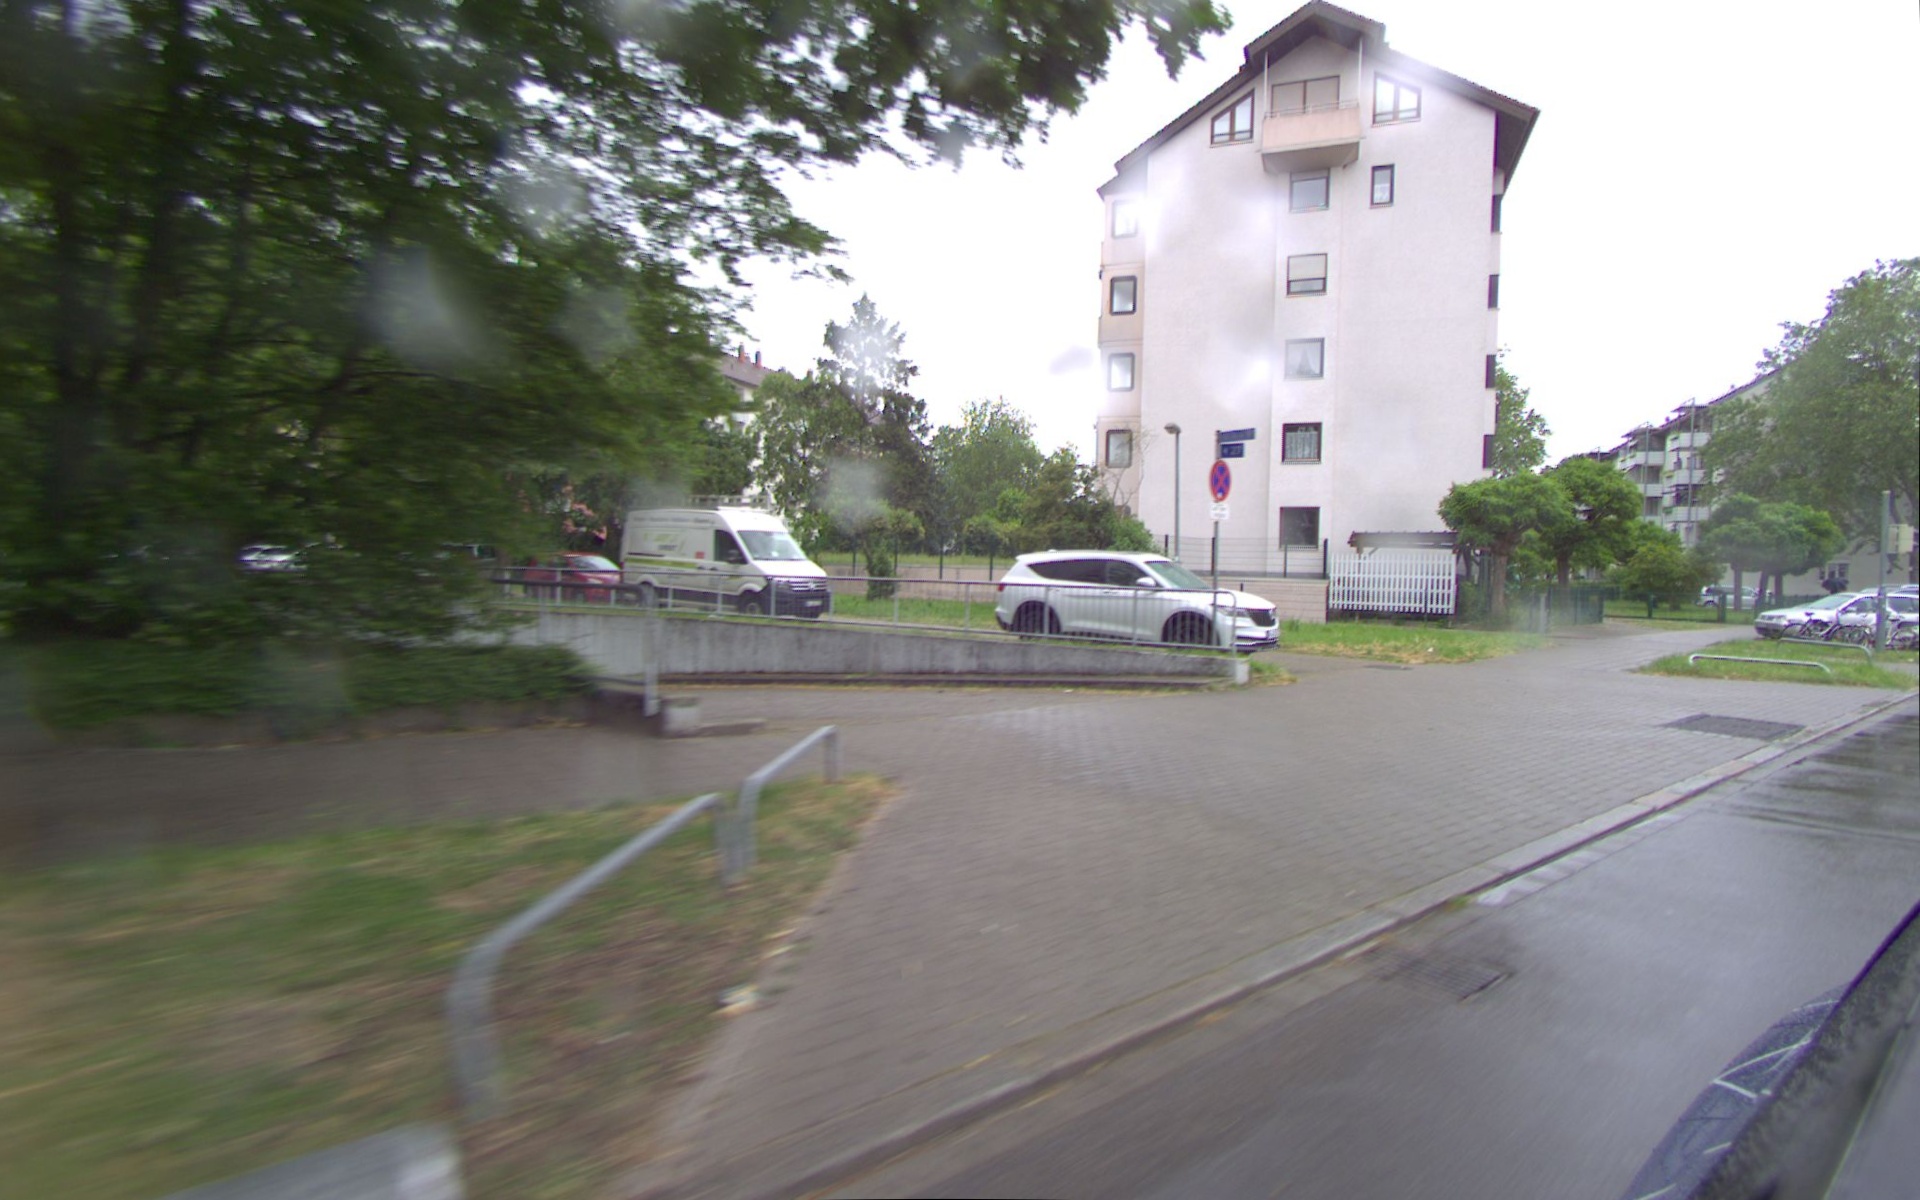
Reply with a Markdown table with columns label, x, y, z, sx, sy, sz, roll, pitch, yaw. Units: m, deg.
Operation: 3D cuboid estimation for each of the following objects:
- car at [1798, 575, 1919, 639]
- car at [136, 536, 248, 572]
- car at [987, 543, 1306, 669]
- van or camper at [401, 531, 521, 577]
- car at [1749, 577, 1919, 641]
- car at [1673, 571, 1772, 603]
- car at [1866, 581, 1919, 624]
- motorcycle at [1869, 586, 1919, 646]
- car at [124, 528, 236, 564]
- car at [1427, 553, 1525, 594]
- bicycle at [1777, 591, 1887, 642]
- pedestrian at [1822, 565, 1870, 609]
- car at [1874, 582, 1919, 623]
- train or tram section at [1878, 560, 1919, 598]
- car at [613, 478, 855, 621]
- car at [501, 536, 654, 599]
| label | x | y | z | sx | sy | sz | roll | pitch | yaw |
| --- | --- | --- | --- | --- | --- | --- | --- | --- | --- |
| car | 26.441 | 0.213 | 28.196 | 4.292 | 1.671 | 1.848 | 3 | 2 | 18 |
| car | -37.603 | -2.201 | 49.643 | 1.961 | 1.589 | 3.958 | 0 | 0 | 30 |
| car | 2.984 | -0.014 | 16.710 | 4.790 | 1.767 | 1.974 | 3 | 2 | 36 |
| van or camper | -20.803 | -1.900 | 42.375 | 1.886 | 1.793 | 4.385 | 2 | 2 | 23 |
| car | 23.370 | 0.232 | 26.301 | 4.065 | 1.440 | 1.731 | 3 | 2 | 14 |
| car | 44.873 | -0.779 | 59.641 | 1.837 | 1.701 | 4.305 | 0 | 3 | -38 |
| car | 37.431 | 0.138 | 38.552 | 3.937 | 1.526 | 1.701 | 2 | 4 | 11 |
| motorcycle | 22.813 | 0.404 | 23.926 | 1.754 | 1.353 | 0.686 | 3 | 2 | 14 |
| car | -40.030 | -2.722 | 52.028 | 1.863 | 1.699 | 4.218 | 1 | 1 | 23 |
| car | 38.598 | -2.021 | 75.859 | 2.147 | 2.813 | 6.137 | 0 | 2 | -38 |
| bicycle | 20.882 | 0.388 | 24.258 | 1.922 | 1.115 | 0.629 | 3 | 2 | 5 |
| pedestrian | 38.016 | -0.574 | 43.415 | 1.405 | 1.836 | 1.104 | 0 | 2 | -30 |
| car | 39.809 | 0.142 | 40.782 | 3.942 | 1.526 | 1.778 | 2 | 4 | 14 |
| train or tram section | 87.518 | -1.877 | 91.802 | 2.708 | 3.380 | 6.396 | 2 | 2 | 4 |
| car | -5.454 | -1.200 | 23.918 | 6.040 | 3.000 | 2.103 | 3 | 2 | 36 |
| car | -10.325 | -0.910 | 27.155 | 4.396 | 1.544 | 1.881 | 3 | 2 | 39 |
